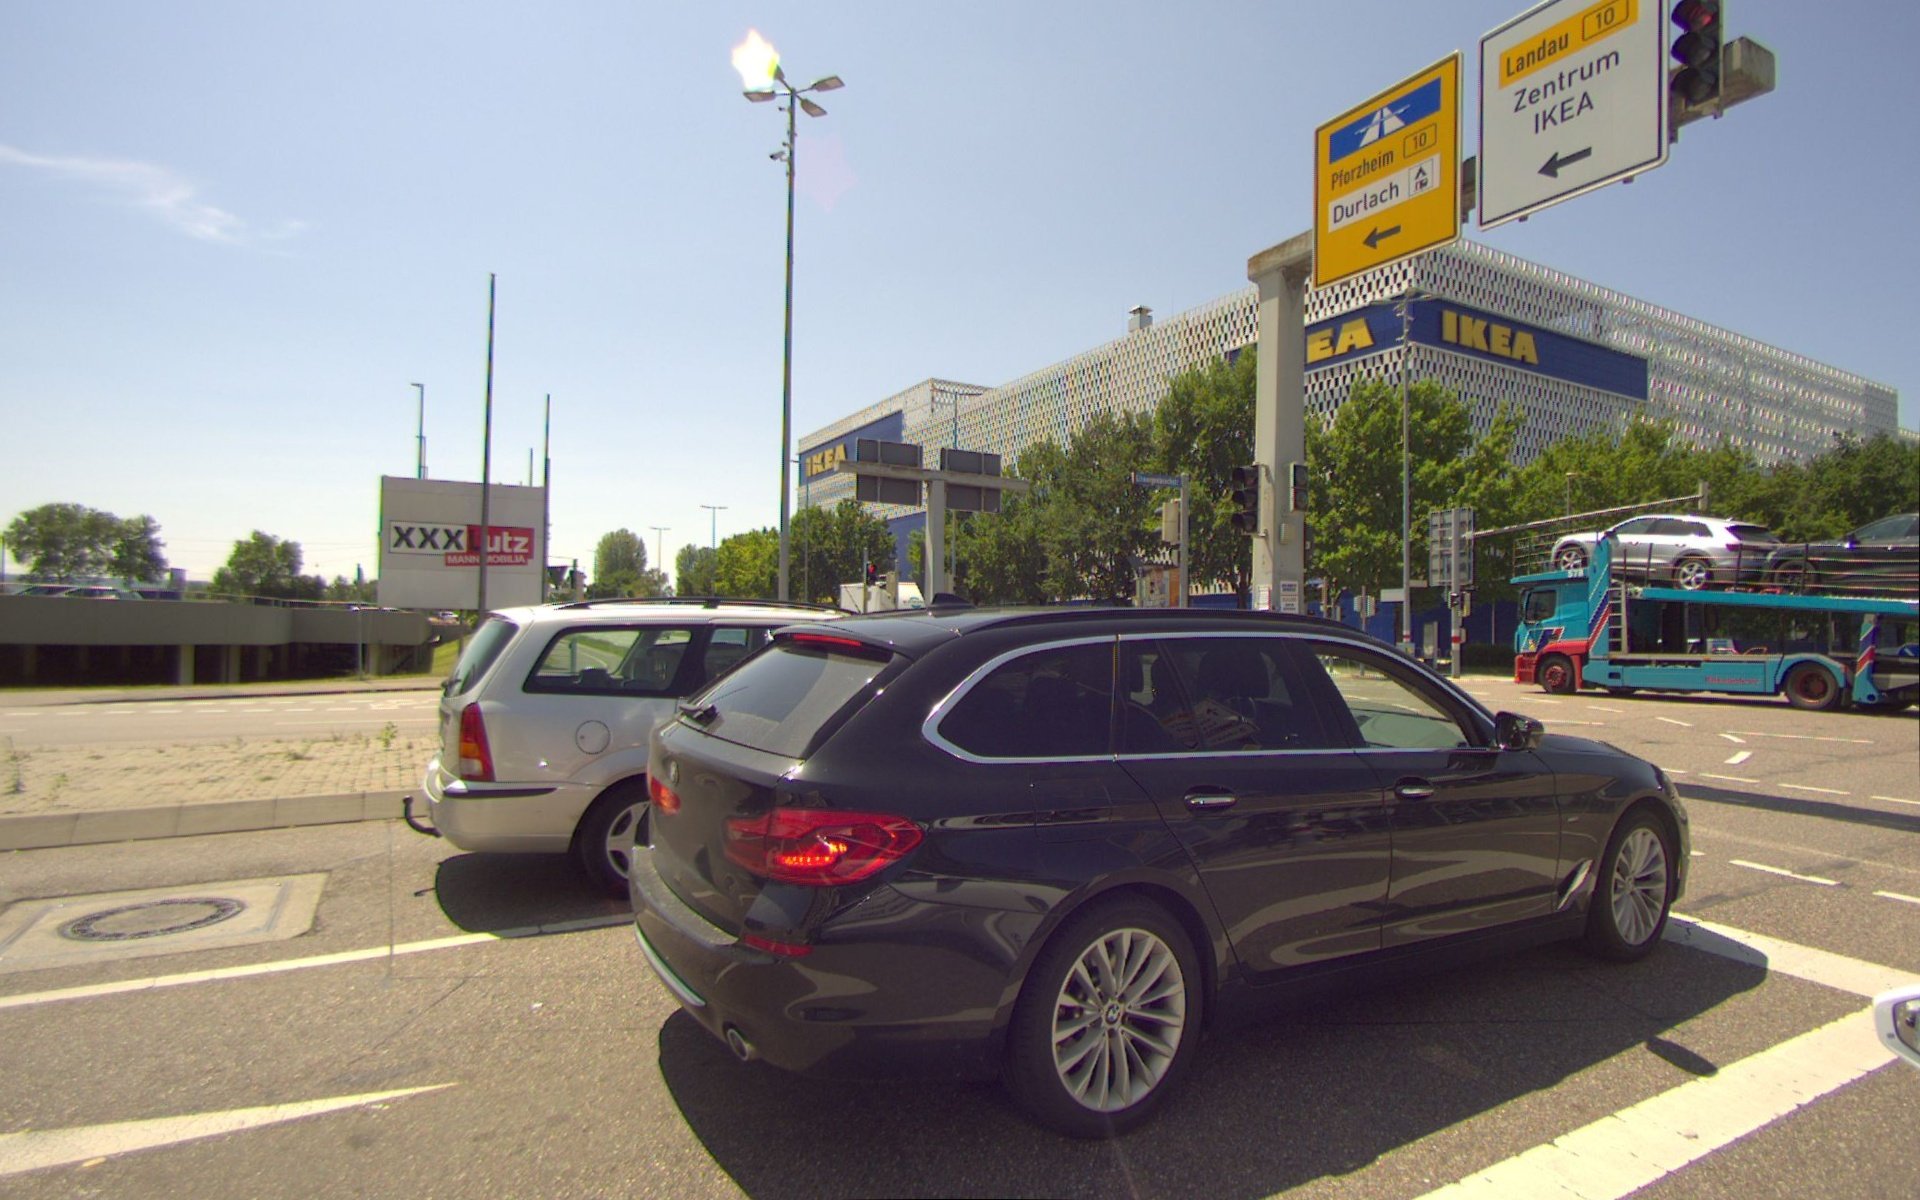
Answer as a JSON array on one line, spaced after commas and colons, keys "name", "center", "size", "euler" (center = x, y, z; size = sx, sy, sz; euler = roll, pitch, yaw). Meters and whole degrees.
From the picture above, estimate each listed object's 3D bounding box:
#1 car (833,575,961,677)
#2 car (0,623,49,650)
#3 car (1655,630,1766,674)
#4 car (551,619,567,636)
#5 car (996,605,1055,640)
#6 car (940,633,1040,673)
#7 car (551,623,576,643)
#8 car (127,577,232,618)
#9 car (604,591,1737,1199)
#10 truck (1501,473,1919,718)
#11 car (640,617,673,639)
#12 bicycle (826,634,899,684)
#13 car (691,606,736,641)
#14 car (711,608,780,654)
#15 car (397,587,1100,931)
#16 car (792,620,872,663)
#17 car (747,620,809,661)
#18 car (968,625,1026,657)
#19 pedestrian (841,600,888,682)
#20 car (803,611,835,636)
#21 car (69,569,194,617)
[{"name": "car", "center": [-2.558, 0.953, 38.348], "size": [2.156, 3.532, 6.874], "euler": [0, -1, -28]}, {"name": "car", "center": [-74.301, 2.825, 78.657], "size": [3.949, 2.040, 1.987], "euler": [2, -2, -27]}, {"name": "car", "center": [35.878, 2.493, 48.031], "size": [4.692, 2.034, 1.991], "euler": [2, -2, -20]}, {"name": "car", "center": [-47.099, 3.214, 117.993], "size": [1.595, 2.040, 3.862], "euler": [1, -1, -20]}, {"name": "car", "center": [4.006, 1.374, 61.947], "size": [1.972, 2.040, 3.976], "euler": [1, -1, -24]}, {"name": "car", "center": [1.051, 1.942, 37.502], "size": [1.756, 1.360, 4.262], "euler": [1, -2, -31]}, {"name": "car", "center": [-35.791, 2.965, 90.643], "size": [1.718, 1.708, 3.641], "euler": [1, -2, -28]}, {"name": "car", "center": [-39.370, -0.078, 50.797], "size": [3.957, 1.933, 1.982], "euler": [2, -2, -33]}, {"name": "car", "center": [1.103, 0.772, 4.118], "size": [4.570, 1.485, 1.791], "euler": [1, -1, -31]}, {"name": "truck", "center": [16.667, 0.016, 20.665], "size": [3.051, 4.136, 10.612], "euler": [2, -1, -18]}, {"name": "car", "center": [-27.767, 2.541, 91.711], "size": [1.975, 1.930, 4.778], "euler": [1, -2, -28]}, {"name": "bicycle", "center": [-2.516, 1.486, 25.705], "size": [0.987, 1.229, 2.079], "euler": [1, -2, -35]}, {"name": "car", "center": [-17.266, 1.675, 70.086], "size": [1.973, 2.318, 5.847], "euler": [1, -2, -24]}, {"name": "car", "center": [-13.014, 1.874, 60.600], "size": [2.542, 2.568, 6.587], "euler": [2, -2, -26]}, {"name": "car", "center": [-1.177, 0.754, 6.335], "size": [3.962, 1.514, 1.785], "euler": [2, -1, -36]}, {"name": "car", "center": [-5.889, 1.860, 45.616], "size": [1.973, 1.835, 5.437], "euler": [1, -2, -25]}, {"name": "car", "center": [-9.760, 2.146, 53.572], "size": [1.975, 2.040, 4.681], "euler": [2, -2, -27]}, {"name": "car", "center": [2.060, 2.282, 56.649], "size": [1.690, 1.673, 4.187], "euler": [1, -1, -22]}, {"name": "pedestrian", "center": [-2.427, 1.048, 25.604], "size": [0.856, 2.040, 0.899], "euler": [1, -2, -36]}, {"name": "car", "center": [-11.839, 1.985, 84.048], "size": [1.858, 2.040, 3.983], "euler": [2, -2, -19]}, {"name": "car", "center": [-36.513, -0.264, 44.413], "size": [3.954, 1.957, 1.984], "euler": [2, -2, -31]}]
